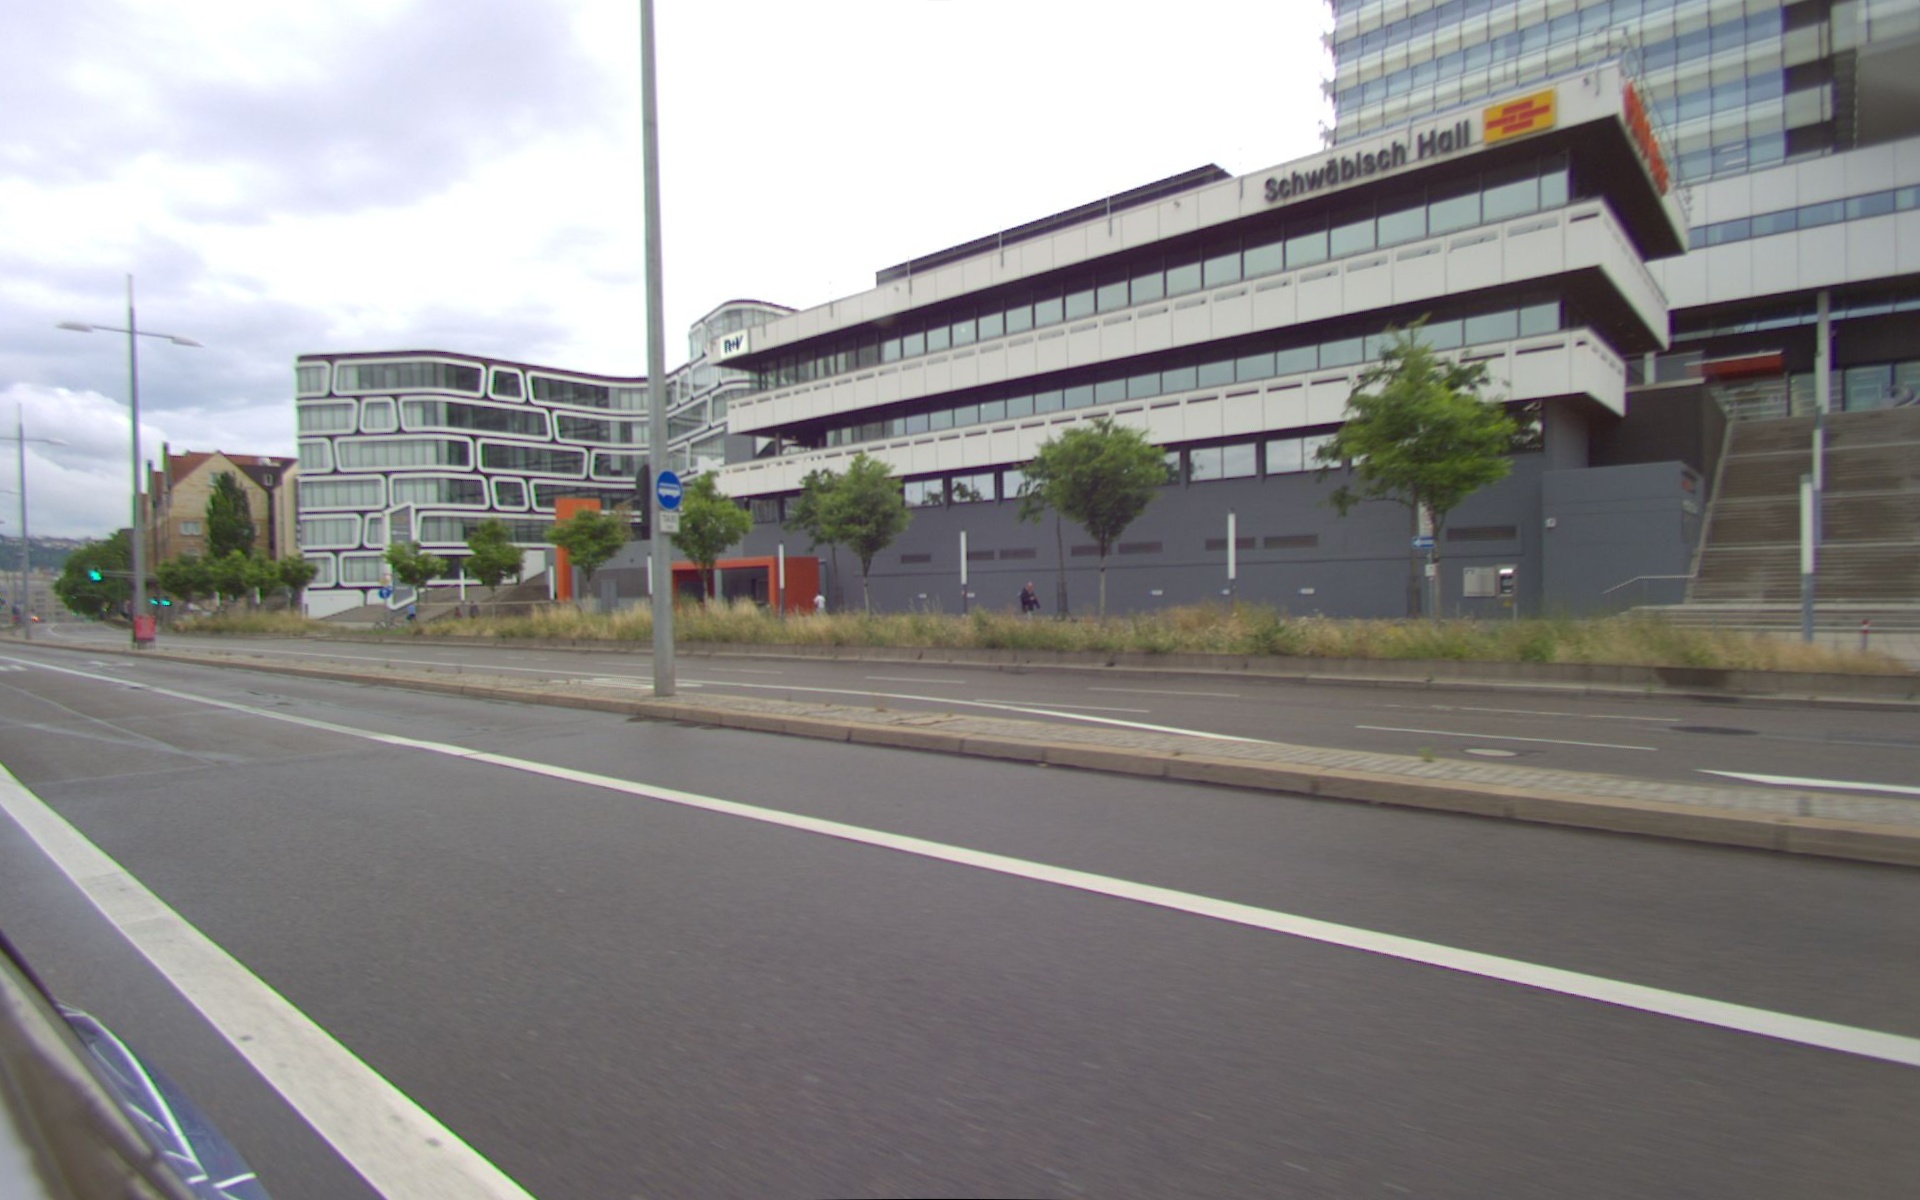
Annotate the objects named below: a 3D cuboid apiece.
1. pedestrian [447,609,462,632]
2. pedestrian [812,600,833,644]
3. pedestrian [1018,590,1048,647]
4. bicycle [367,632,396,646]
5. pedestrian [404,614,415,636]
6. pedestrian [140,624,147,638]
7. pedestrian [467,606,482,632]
[{"bbox_3d":[-32.336,1.299,64.784,0.798,1.457,0.611,0,0,43],"label":"pedestrian"},{"bbox_3d":[-5.715,0.913,42.025,0.628,1.821,0.623,0,0,42],"label":"pedestrian"},{"bbox_3d":[2.372,0.603,33.039,0.628,1.821,0.776,0,0,42],"label":"pedestrian"},{"bbox_3d":[-37.198,2.485,65.084,1.638,0.864,0.608,0,0,9],"label":"bicycle"},{"bbox_3d":[-42.336,1.913,77.835,0.603,1.623,0.640,-2,1,-45],"label":"pedestrian"},{"bbox_3d":[-106.522,3.977,131.985,0.668,1.792,0.684,-1,0,-42],"label":"pedestrian"},{"bbox_3d":[-31.526,1.207,65.733,0.798,1.670,0.611,0,-1,43],"label":"pedestrian"}]
